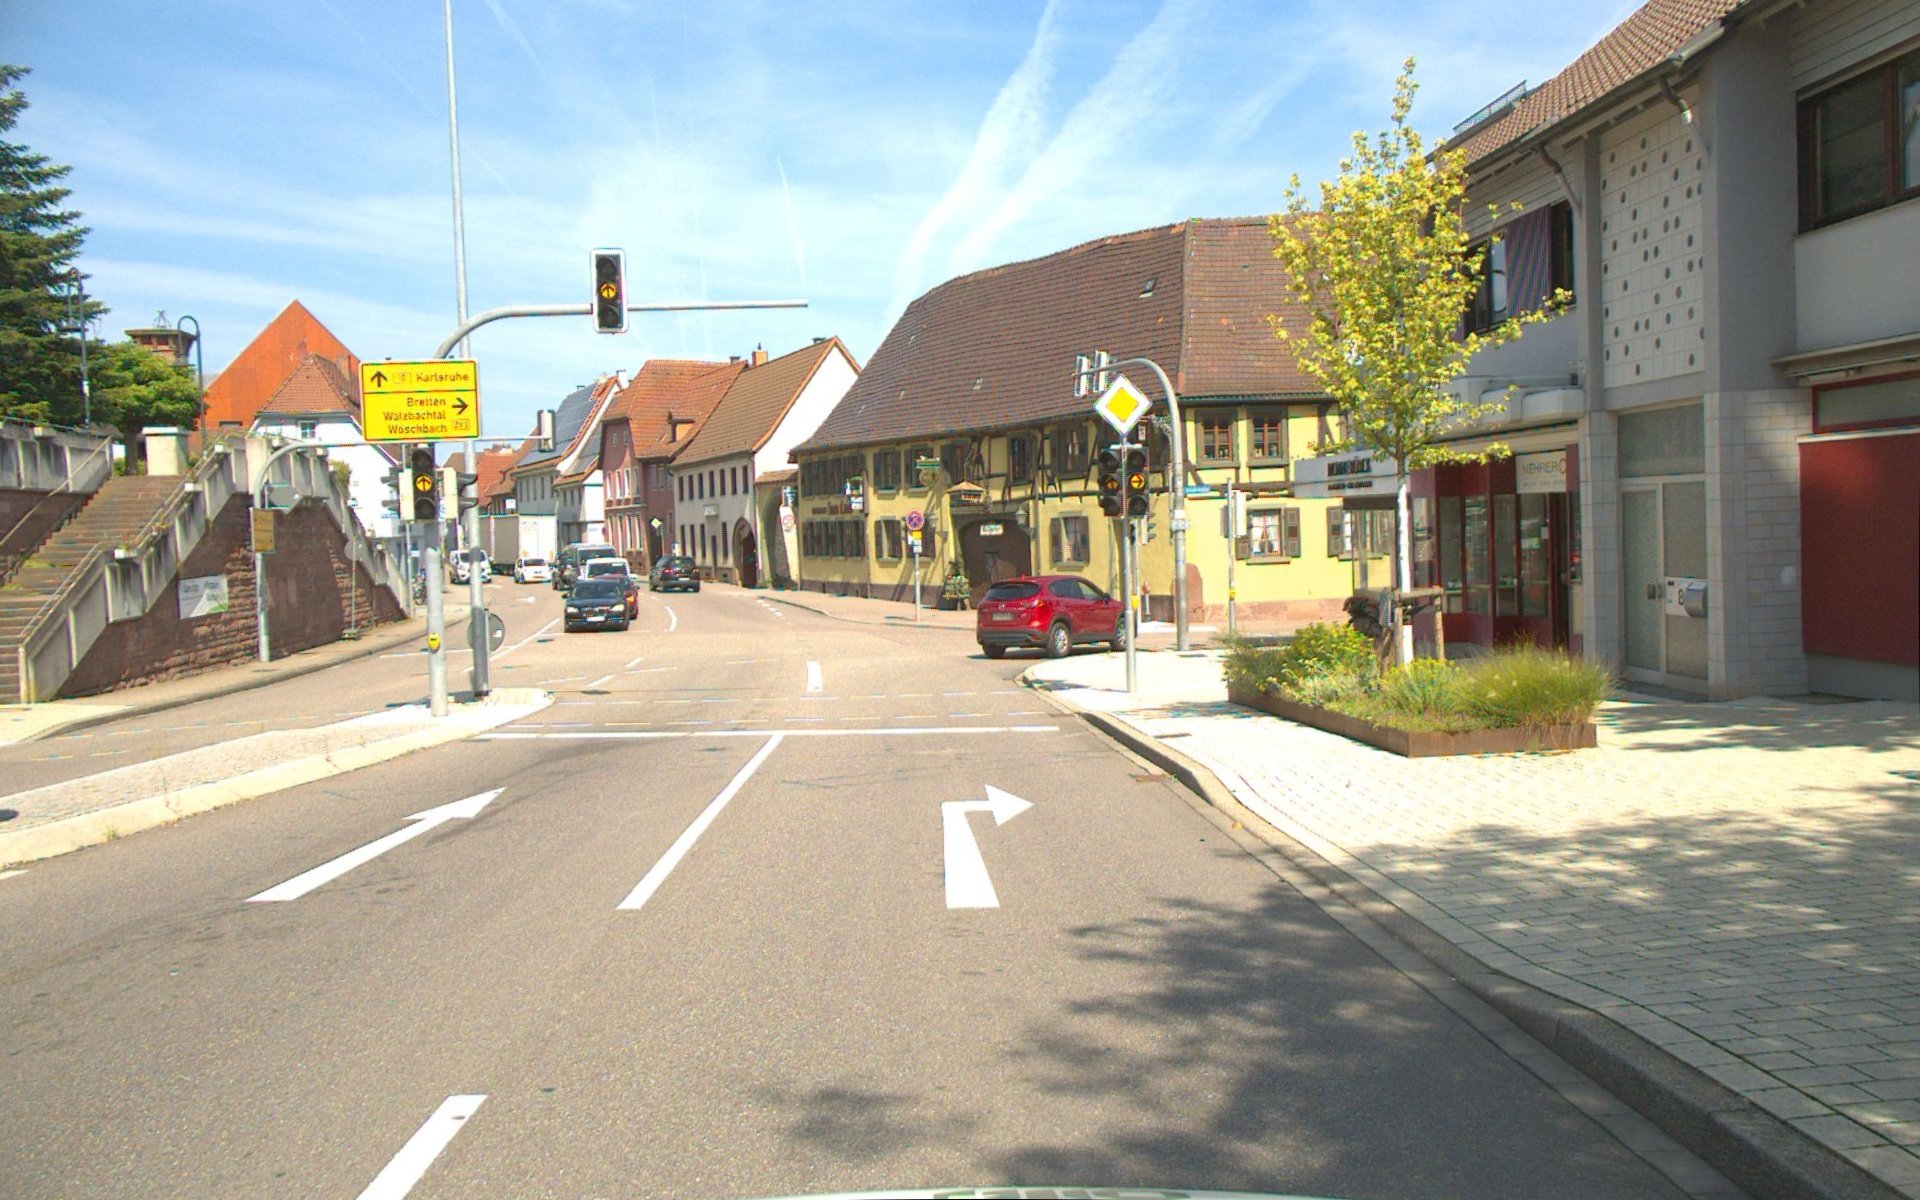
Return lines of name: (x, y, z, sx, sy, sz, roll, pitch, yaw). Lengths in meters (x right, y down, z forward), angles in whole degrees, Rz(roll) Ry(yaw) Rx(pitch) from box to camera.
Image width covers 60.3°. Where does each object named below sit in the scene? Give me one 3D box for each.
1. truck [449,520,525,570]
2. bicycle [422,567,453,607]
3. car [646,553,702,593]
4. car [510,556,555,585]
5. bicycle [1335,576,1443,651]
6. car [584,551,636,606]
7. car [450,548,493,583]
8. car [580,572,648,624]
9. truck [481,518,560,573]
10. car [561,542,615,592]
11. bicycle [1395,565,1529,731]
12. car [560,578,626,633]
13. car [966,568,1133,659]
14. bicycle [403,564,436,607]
truck: (-34.926, -3.945, 121.760, 3.125, 3.520, 10.608, 0, 1, -29)
bicycle: (-22.131, -0.555, 70.055, 0.546, 1.635, 2.562, 0, 1, -1)
car: (-13.421, -1.287, 77.466, 1.795, 1.768, 3.981, -3, 3, -21)
car: (-24.880, -1.718, 96.188, 1.764, 1.552, 3.972, -4, 3, -26)
bicycle: (7.729, 0.242, 29.818, 1.767, 1.256, 0.549, -3, 1, -2)
car: (-13.616, -0.863, 64.188, 1.789, 1.939, 4.948, -2, 3, -13)
car: (-29.960, -2.135, 101.335, 2.107, 2.000, 5.246, -3, 2, -21)
car: (-12.017, -0.104, 57.629, 2.120, 1.541, 4.937, -1, 3, -10)
truck: (-30.137, -3.684, 113.147, 3.188, 3.611, 9.142, 0, 2, -29)
car: (-17.593, -1.577, 78.049, 1.734, 2.285, 4.521, 0, 2, -23)
bicycle: (4.348, 0.372, 14.466, 0.518, 1.301, 1.992, -5, 1, 1)
car: (-11.098, 0.128, 50.187, 1.788, 1.459, 4.238, -2, 2, -11)
car: (1.941, 0.255, 34.891, 1.773, 1.692, 3.800, -2, 1, 35)
bicycle: (-23.143, -0.647, 70.871, 0.628, 1.810, 2.670, 0, 1, -1)
